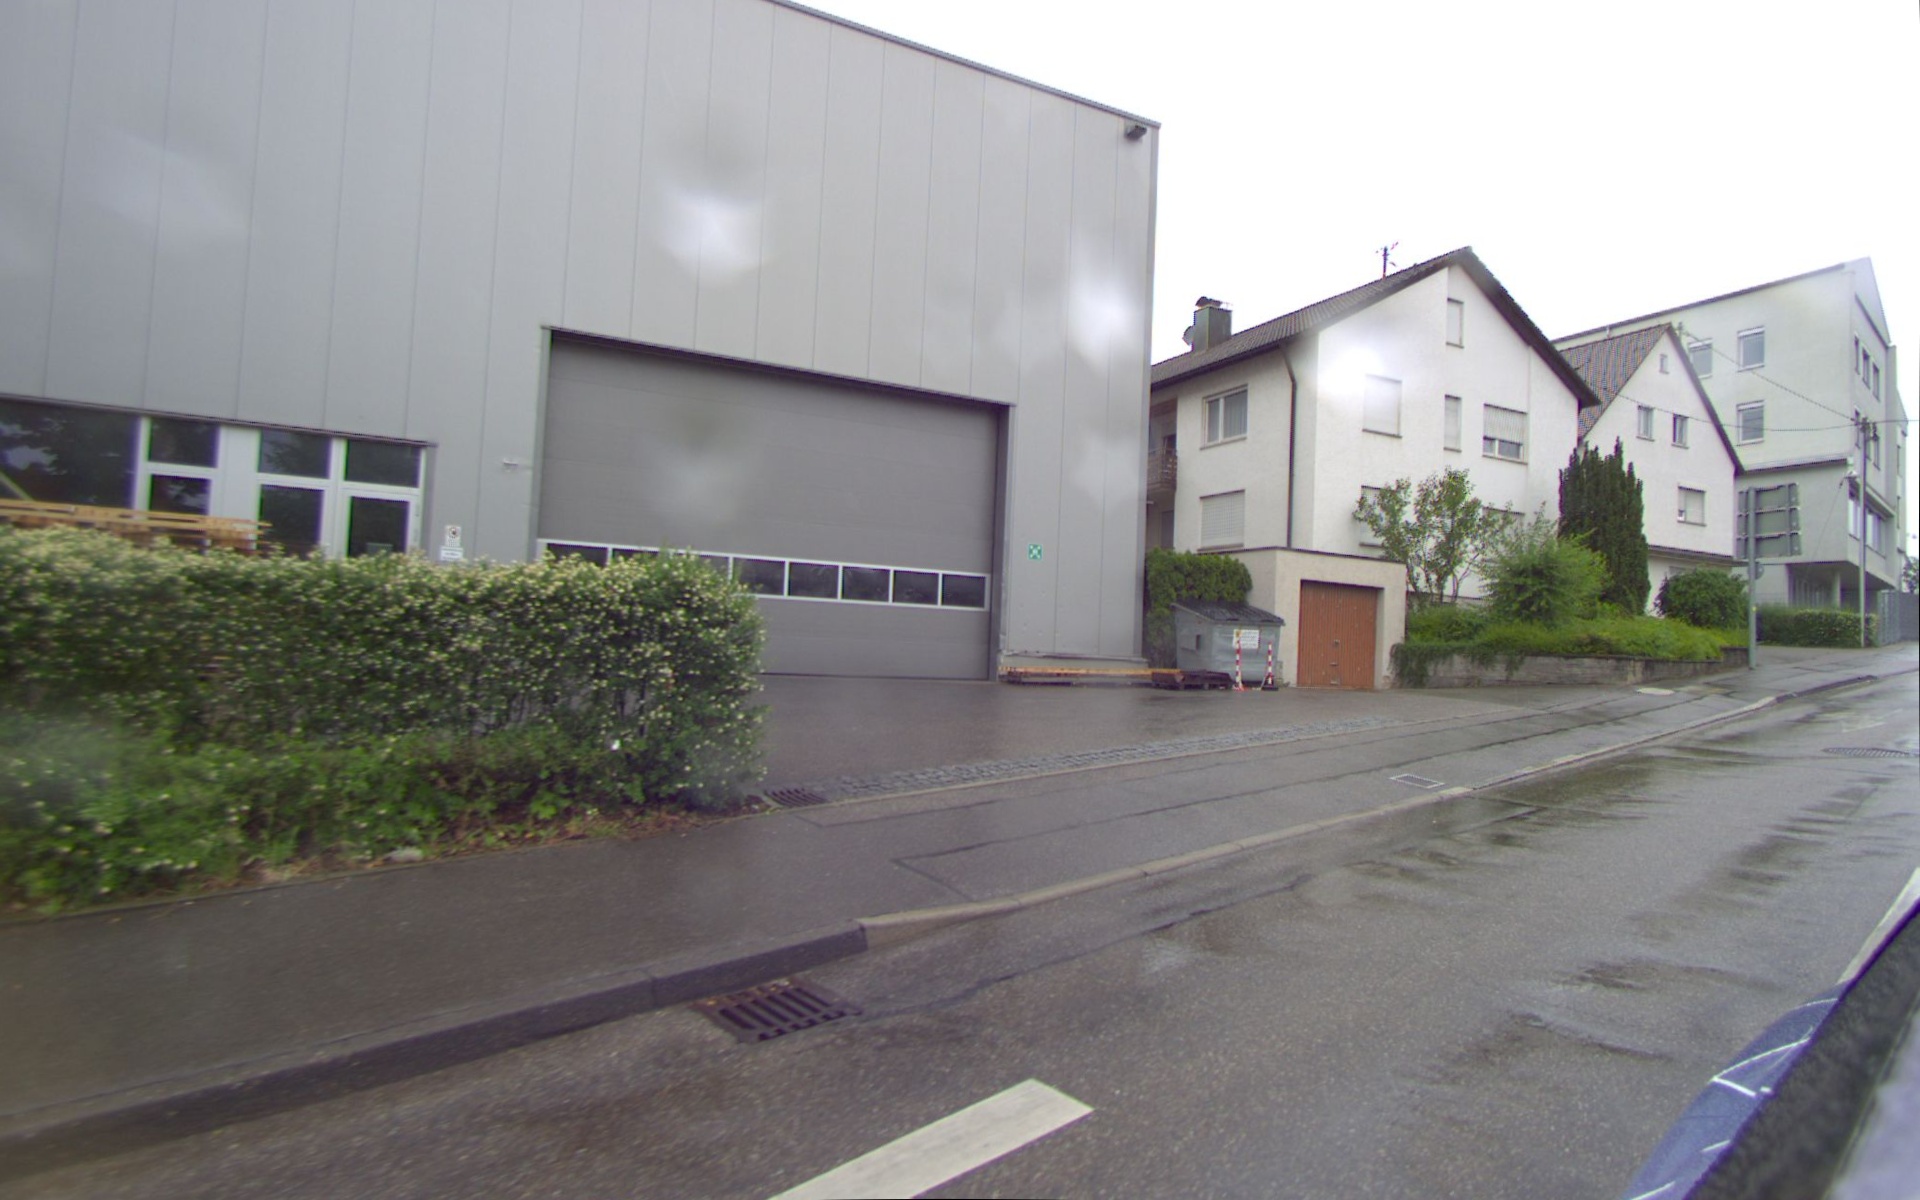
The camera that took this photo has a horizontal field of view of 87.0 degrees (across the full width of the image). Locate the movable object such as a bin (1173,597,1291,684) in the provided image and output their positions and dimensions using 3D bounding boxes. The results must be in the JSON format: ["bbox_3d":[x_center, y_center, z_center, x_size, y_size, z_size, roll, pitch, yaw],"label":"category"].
[{"bbox_3d":[5.147,0.745,19.192,1.742,1.537,1.268,1,0,-25],"label":"movable object such as a bin"}]
